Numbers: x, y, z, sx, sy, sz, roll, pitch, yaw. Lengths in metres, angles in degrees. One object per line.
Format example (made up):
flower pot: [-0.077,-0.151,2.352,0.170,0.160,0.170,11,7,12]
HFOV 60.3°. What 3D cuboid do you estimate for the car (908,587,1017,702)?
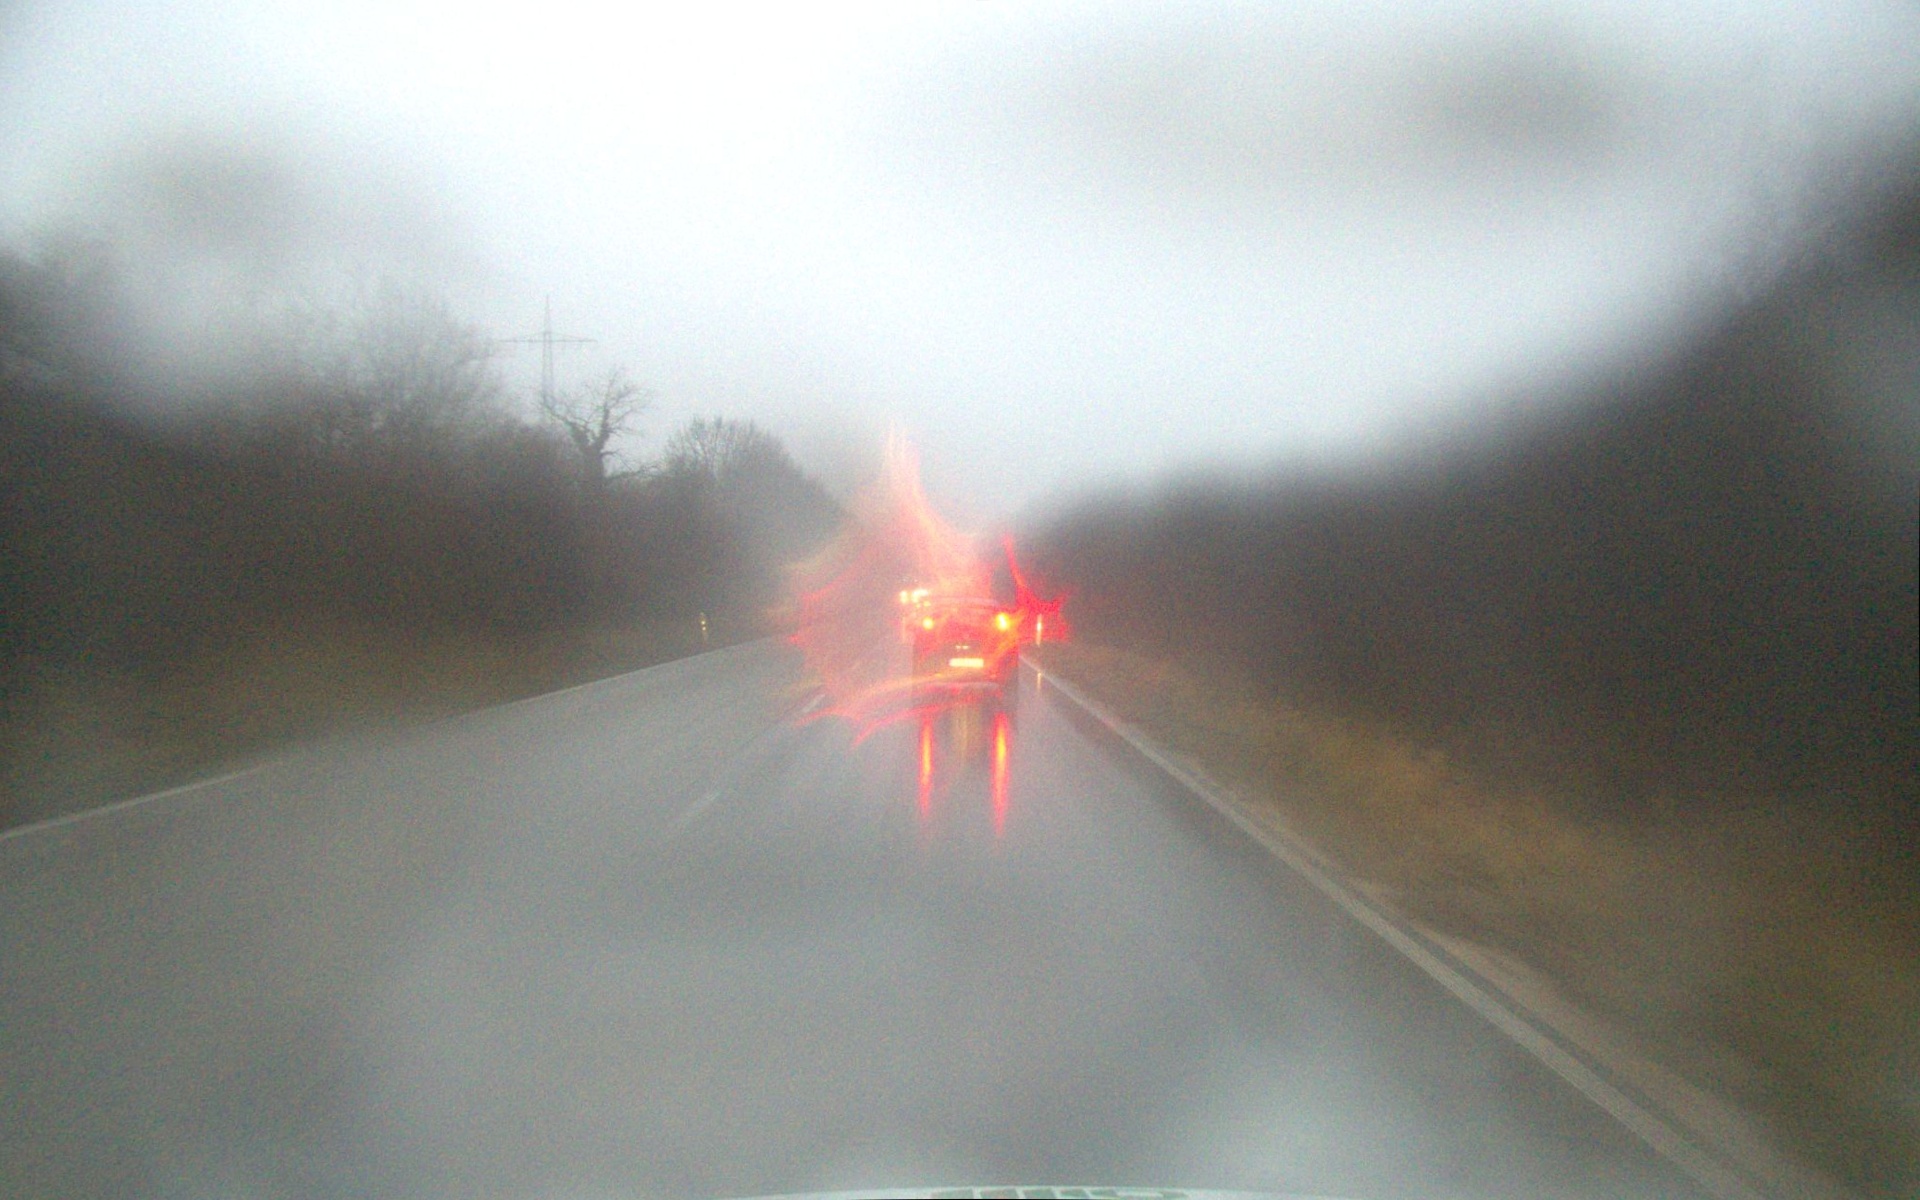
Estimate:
car: [0.014,0.669,26.476,1.614,1.701,3.513,1,0,-1]

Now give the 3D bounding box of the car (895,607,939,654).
car: [-1.721,1.208,66.720,1.698,1.810,3.999,1,0,-1]
